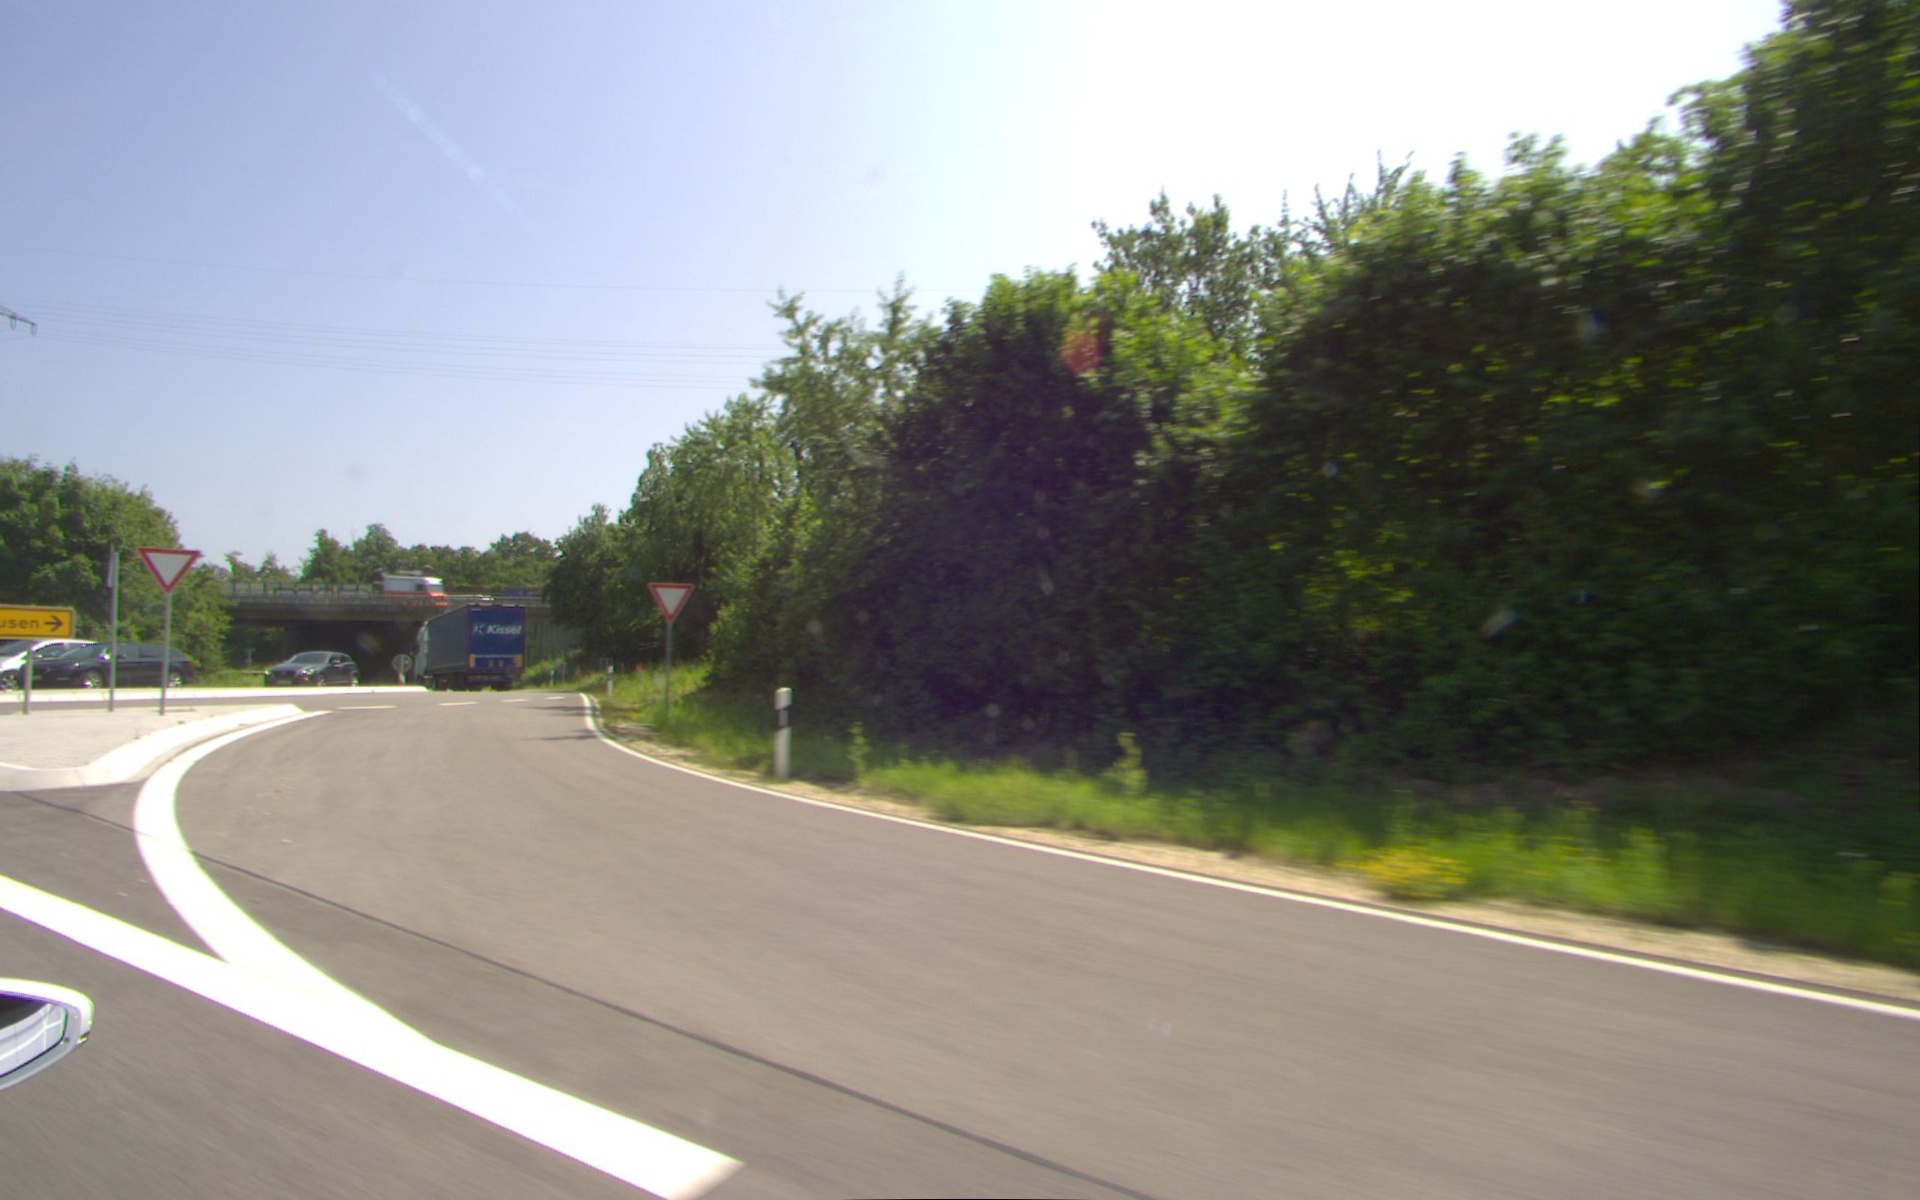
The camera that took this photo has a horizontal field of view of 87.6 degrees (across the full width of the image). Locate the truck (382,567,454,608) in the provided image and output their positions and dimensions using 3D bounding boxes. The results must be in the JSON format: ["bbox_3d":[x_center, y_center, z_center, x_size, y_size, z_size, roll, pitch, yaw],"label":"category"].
[{"bbox_3d":[-45.652,-1.058,84.413,4.786,3.318,2.479,0,-1,3],"label":"truck"}]

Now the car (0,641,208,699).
[{"bbox_3d":[-24.189,1.922,28.531,1.832,1.492,4.566,0,-2,4],"label":"car"}]

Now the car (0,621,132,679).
[{"bbox_3d":[-27.070,1.423,29.507,1.809,1.600,3.995,0,-1,5],"label":"car"}]

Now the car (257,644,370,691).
[{"bbox_3d":[-24.027,2.569,37.383,1.776,1.617,4.102,0,-5,-5],"label":"car"}]

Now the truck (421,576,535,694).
[{"bbox_3d":[-25.757,1.792,52.840,3.329,5.383,15.245,0,-1,-34],"label":"truck"}]
